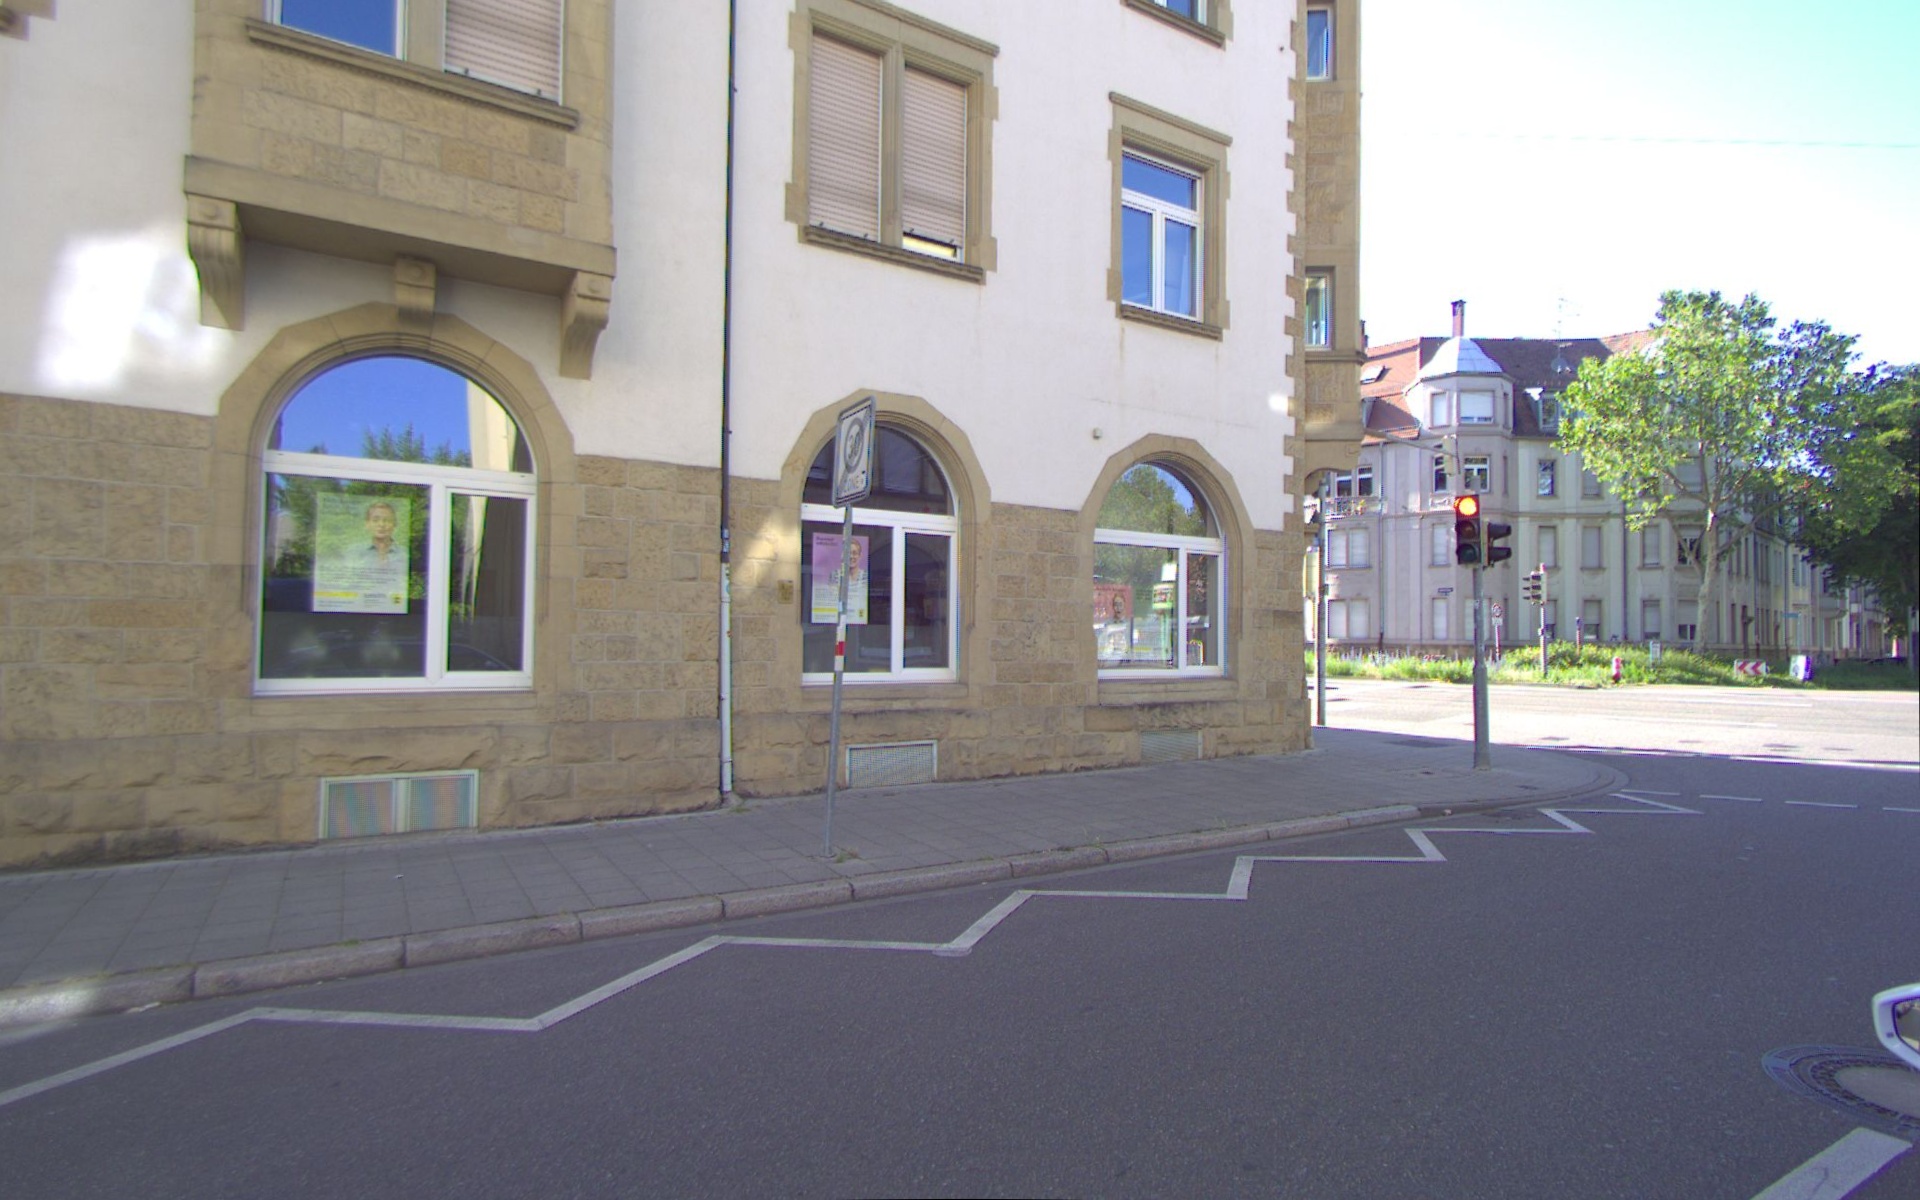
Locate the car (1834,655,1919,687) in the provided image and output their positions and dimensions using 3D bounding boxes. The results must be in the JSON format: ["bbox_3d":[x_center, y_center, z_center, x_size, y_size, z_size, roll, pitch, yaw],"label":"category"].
[{"bbox_3d":[45.961,3.491,49.767,3.943,1.505,1.673,-2,-3,42],"label":"car"}]

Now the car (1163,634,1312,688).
[{"bbox_3d":[8.348,1.802,30.400,3.944,1.336,1.812,2,-1,43],"label":"car"}]
